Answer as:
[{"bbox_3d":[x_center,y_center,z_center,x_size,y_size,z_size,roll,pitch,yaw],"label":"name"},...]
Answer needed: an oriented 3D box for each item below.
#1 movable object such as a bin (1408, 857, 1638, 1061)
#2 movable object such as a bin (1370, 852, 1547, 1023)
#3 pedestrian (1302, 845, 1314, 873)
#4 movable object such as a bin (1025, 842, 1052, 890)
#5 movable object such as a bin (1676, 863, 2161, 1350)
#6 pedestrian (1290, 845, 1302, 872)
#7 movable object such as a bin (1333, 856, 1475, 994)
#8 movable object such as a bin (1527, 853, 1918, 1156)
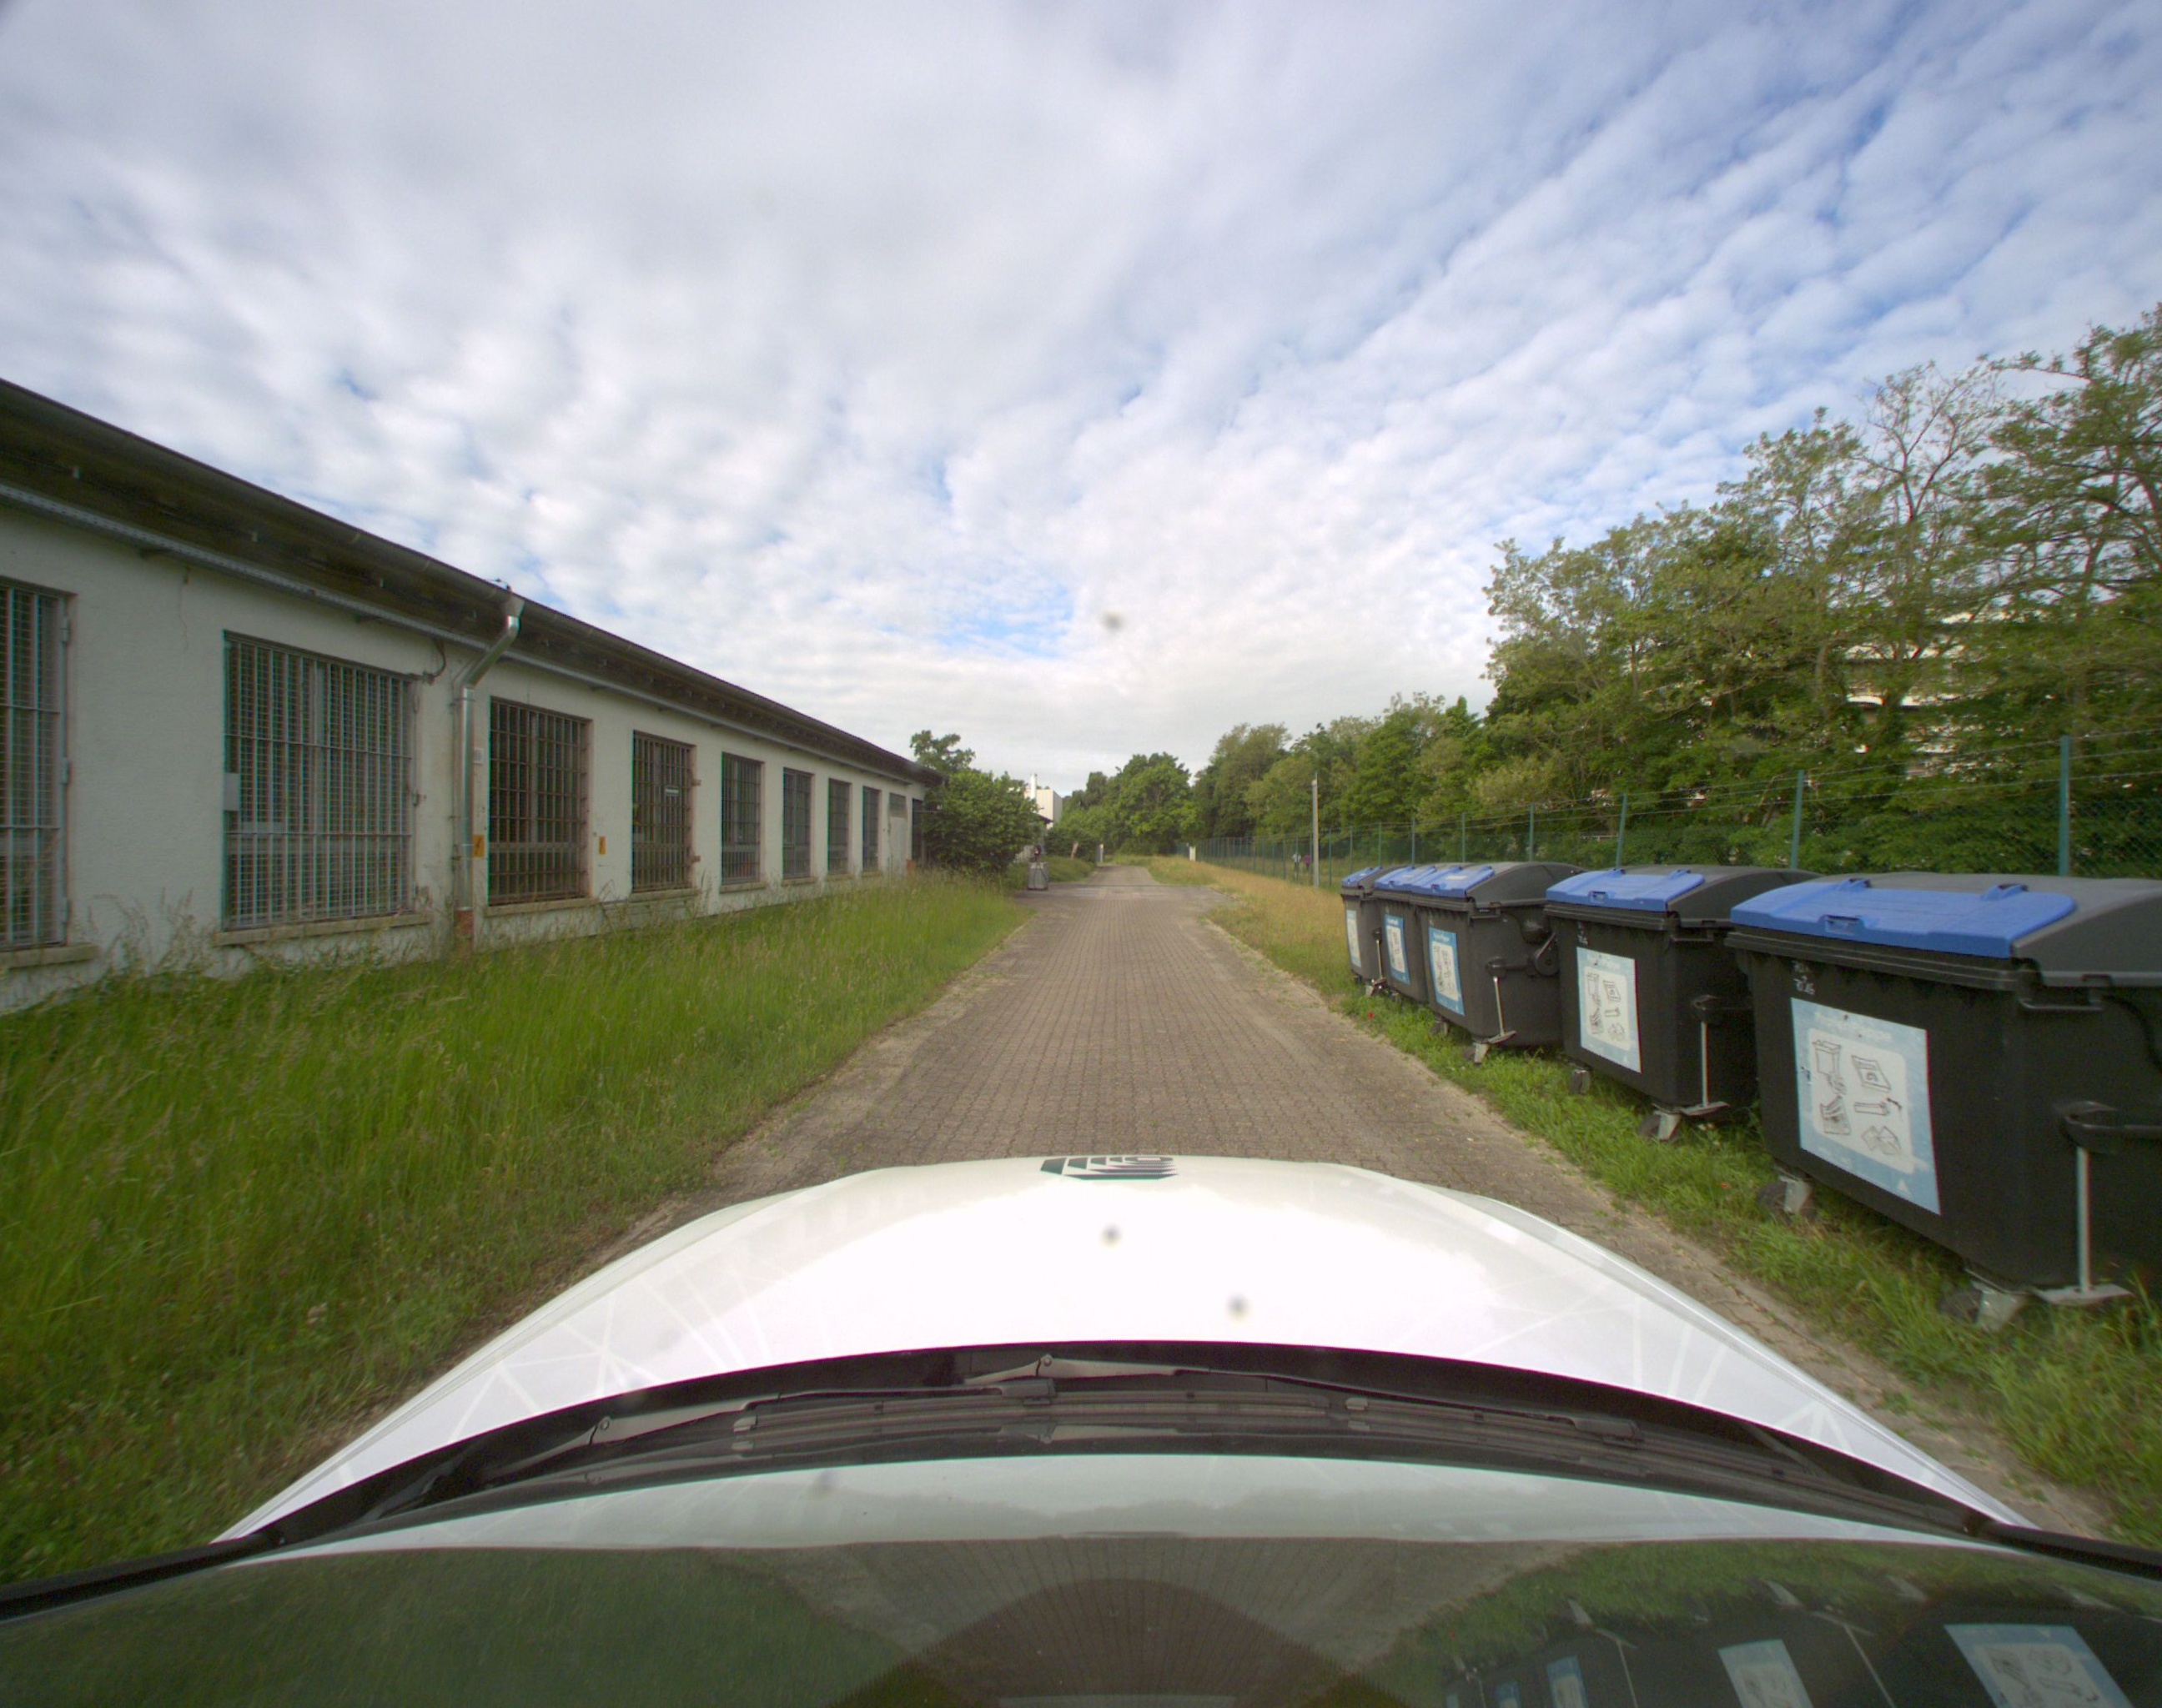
[{"bbox_3d":[3.180,0.693,6.051,1.116,1.321,1.328,0,0,8],"label":"movable object such as a bin"},{"bbox_3d":[3.327,0.685,7.349,1.116,1.379,1.328,1,-1,8],"label":"movable object such as a bin"},{"bbox_3d":[16.453,0.353,59.050,0.756,2.013,0.664,0,0,1],"label":"pedestrian"},{"bbox_3d":[-1.787,0.506,34.170,0.929,1.982,0.856,0,0,11],"label":"movable object such as a bin"},{"bbox_3d":[3.219,0.704,2.959,1.148,1.325,1.497,1,-1,8],"label":"movable object such as a bin"},{"bbox_3d":[15.659,0.330,59.287,0.756,2.013,0.664,0,0,1],"label":"pedestrian"},{"bbox_3d":[3.415,0.704,8.774,1.116,1.350,1.429,1,-1,8],"label":"movable object such as a bin"},{"bbox_3d":[3.378,0.695,4.537,1.116,1.374,1.497,1,-1,8],"label":"movable object such as a bin"}]
